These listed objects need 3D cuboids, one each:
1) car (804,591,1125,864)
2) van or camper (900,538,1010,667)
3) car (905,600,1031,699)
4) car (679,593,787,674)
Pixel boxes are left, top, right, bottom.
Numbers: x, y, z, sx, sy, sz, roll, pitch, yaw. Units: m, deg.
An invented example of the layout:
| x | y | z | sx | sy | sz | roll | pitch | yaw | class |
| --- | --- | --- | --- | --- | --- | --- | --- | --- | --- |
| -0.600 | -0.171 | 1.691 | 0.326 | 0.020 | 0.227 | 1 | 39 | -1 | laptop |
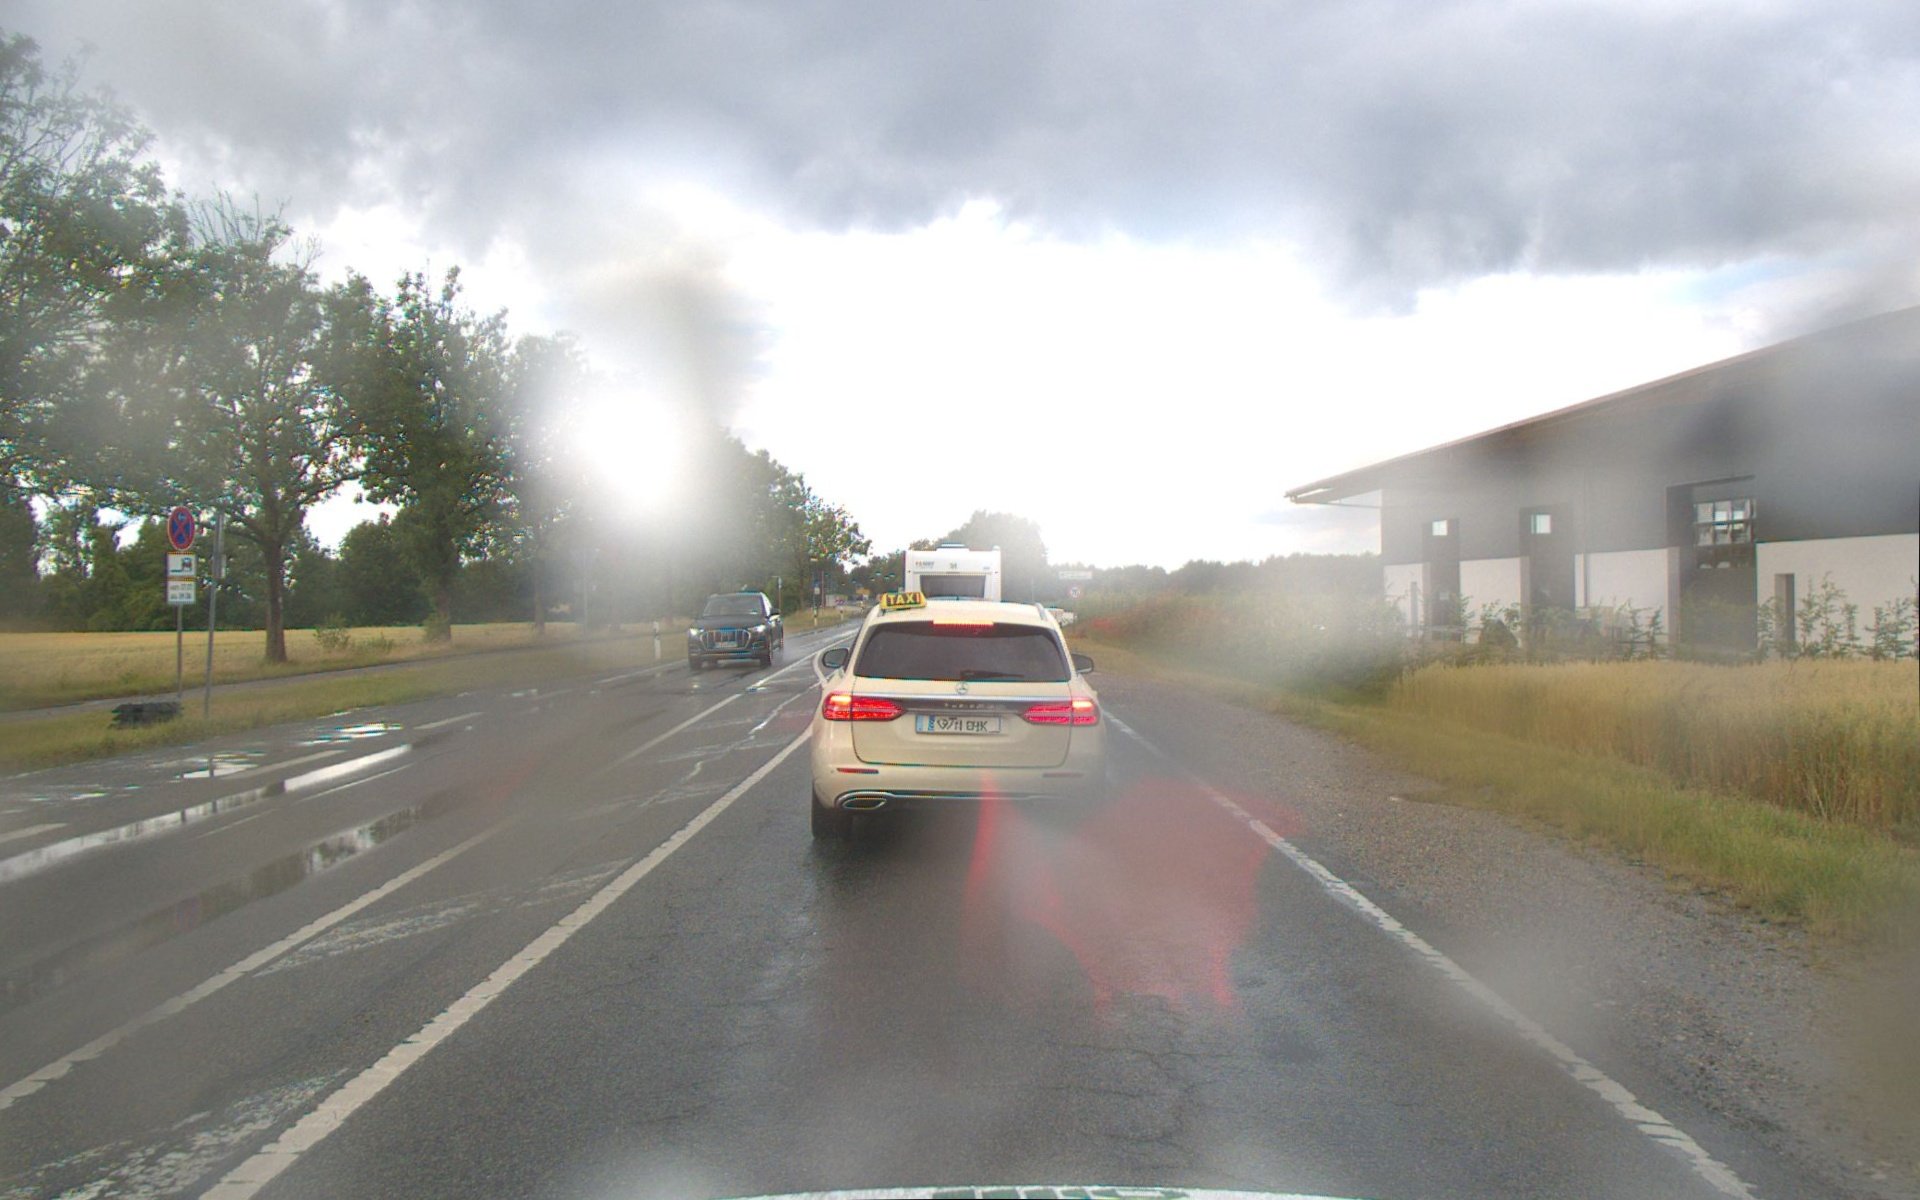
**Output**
| x | y | z | sx | sy | sz | roll | pitch | yaw | class |
| --- | --- | --- | --- | --- | --- | --- | --- | --- | --- |
| 0.021 | 0.704 | 11.163 | 1.760 | 1.490 | 4.030 | 1 | 0 | 0 | car |
| -0.097 | 0.058 | 40.770 | 2.446 | 2.880 | 5.933 | -2 | 0 | 0 | van or camper |
| 0.074 | 0.728 | 26.462 | 1.856 | 1.454 | 3.927 | 0 | 0 | -1 | car |
| -5.208 | 0.735 | 38.413 | 1.877 | 1.660 | 4.356 | -3 | 0 | -1 | car |
